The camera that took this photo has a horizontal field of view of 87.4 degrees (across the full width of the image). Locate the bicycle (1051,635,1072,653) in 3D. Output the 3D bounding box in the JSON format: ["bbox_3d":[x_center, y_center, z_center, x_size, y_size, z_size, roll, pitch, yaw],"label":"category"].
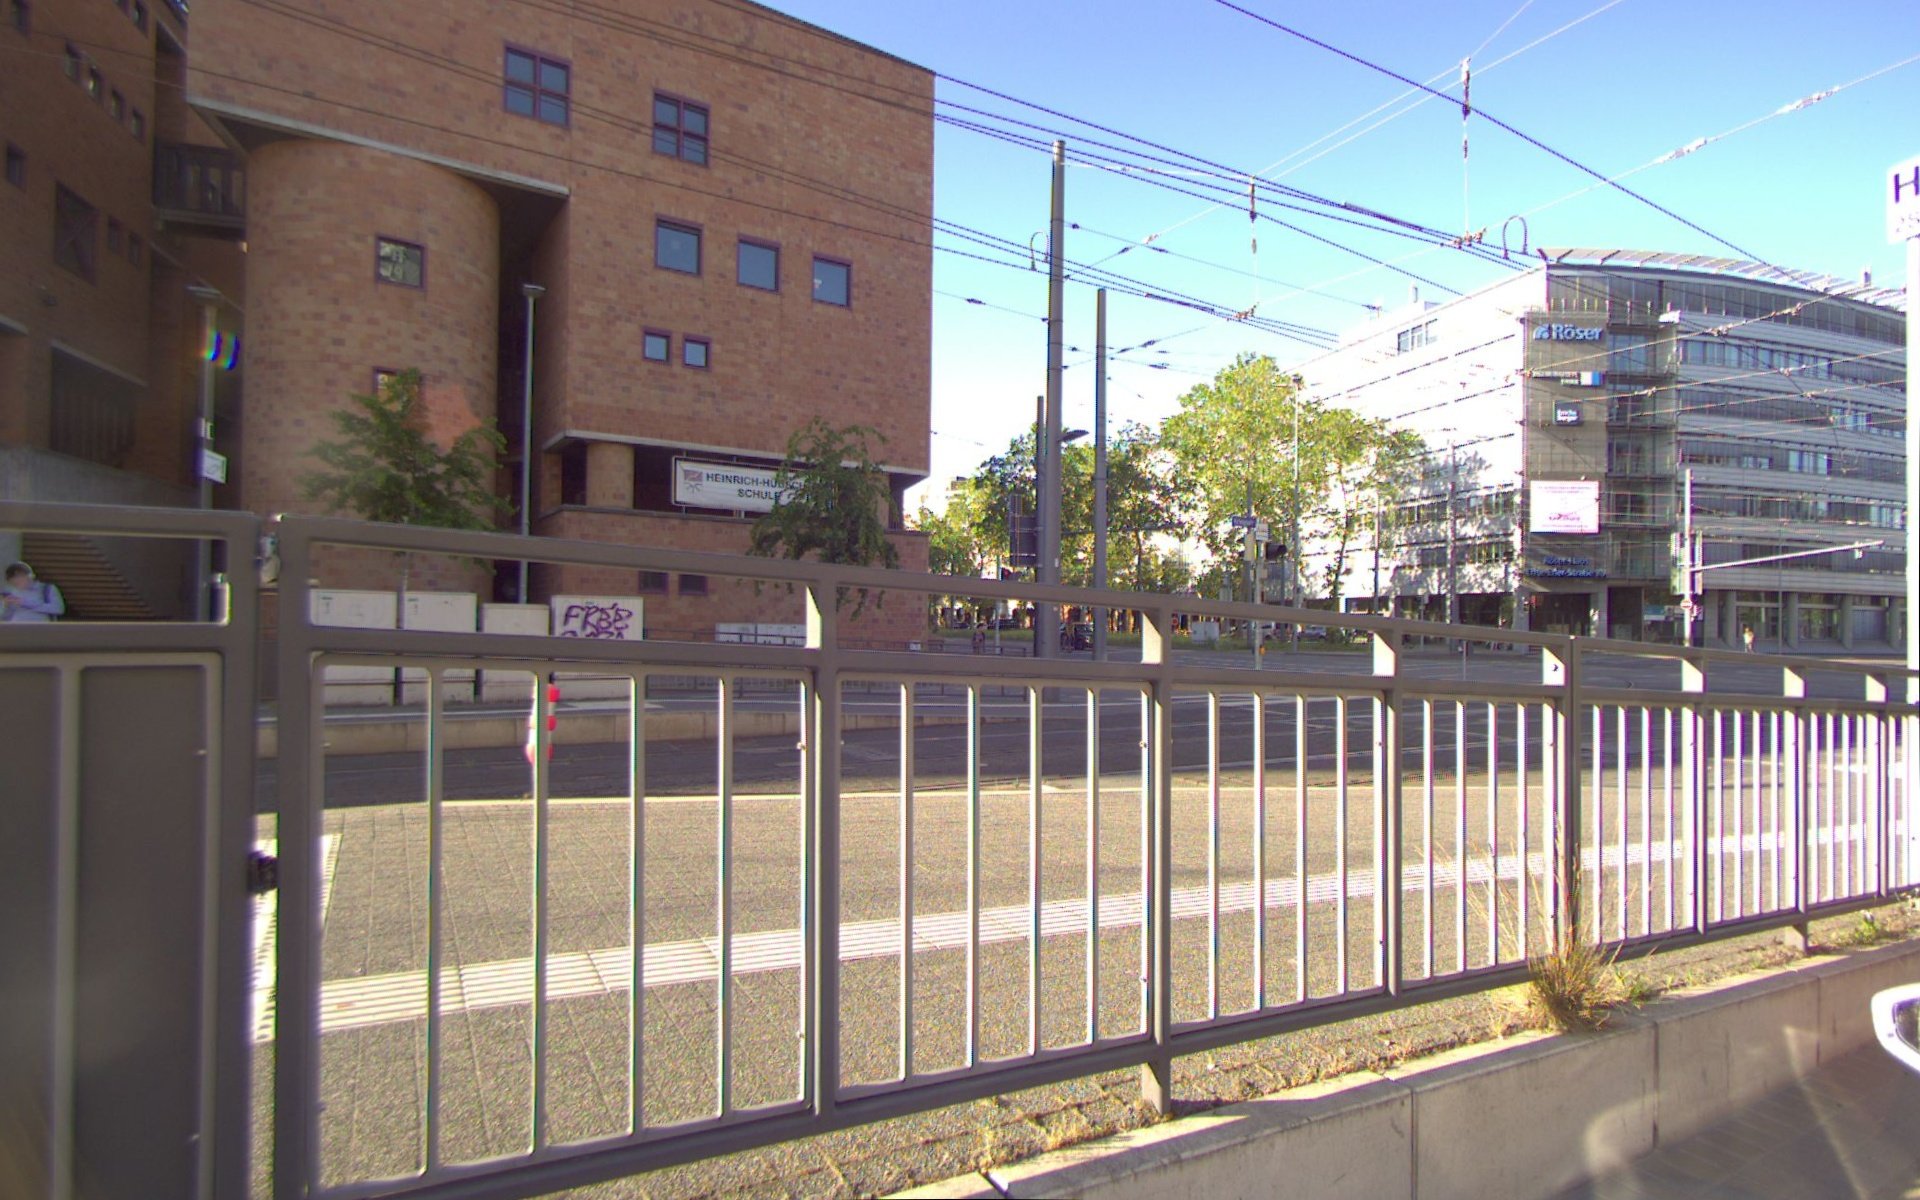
[{"bbox_3d":[5.322,2.311,52.791,0.528,0.925,1.564,1,-1,-15],"label":"bicycle"}]

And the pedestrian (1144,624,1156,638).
[{"bbox_3d":[20.720,3.385,109.413,0.860,1.567,0.989,1,-1,-22],"label":"pedestrian"}]

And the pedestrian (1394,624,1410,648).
[{"bbox_3d":[31.206,2.524,70.847,0.598,1.633,0.832,-2,2,-26],"label":"pedestrian"}]

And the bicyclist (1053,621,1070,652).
[{"bbox_3d":[5.331,1.906,52.747,0.614,1.643,0.812,1,-1,-16],"label":"bicyclist"}]

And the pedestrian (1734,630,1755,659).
[{"bbox_3d":[50.750,2.863,64.940,0.871,1.847,0.675,1,-2,-17],"label":"pedestrian"}]

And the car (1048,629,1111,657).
[{"bbox_3d":[6.677,2.409,56.570,1.637,1.346,3.591,2,0,-31],"label":"car"}]

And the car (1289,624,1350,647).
[{"bbox_3d":[27.234,2.638,76.293,1.840,1.594,4.387,-1,0,-25],"label":"car"}]

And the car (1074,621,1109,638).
[{"bbox_3d":[13.362,3.001,102.195,1.840,1.660,3.844,1,-1,-25],"label":"car"}]

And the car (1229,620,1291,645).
[{"bbox_3d":[24.213,2.579,81.294,1.904,1.868,4.889,-1,0,-28],"label":"car"}]

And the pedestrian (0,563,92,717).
[{"bbox_3d":[-9.663,0.413,10.590,0.647,1.555,0.696,1,-1,-33],"label":"pedestrian"}]

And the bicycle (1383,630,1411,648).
[{"bbox_3d":[30.731,2.742,70.706,0.605,1.179,1.835,-2,2,-27],"label":"bicycle"}]

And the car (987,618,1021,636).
[{"bbox_3d":[5.105,3.090,117.197,2.011,2.003,4.382,0,-1,-29],"label":"car"}]

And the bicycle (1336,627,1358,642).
[{"bbox_3d":[30.532,2.731,79.319,1.812,1.167,0.467,0,0,-23],"label":"bicycle"}]

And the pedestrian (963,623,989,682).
[{"bbox_3d":[0.459,1.498,28.711,0.501,1.639,0.504,2,0,-40],"label":"pedestrian"}]
